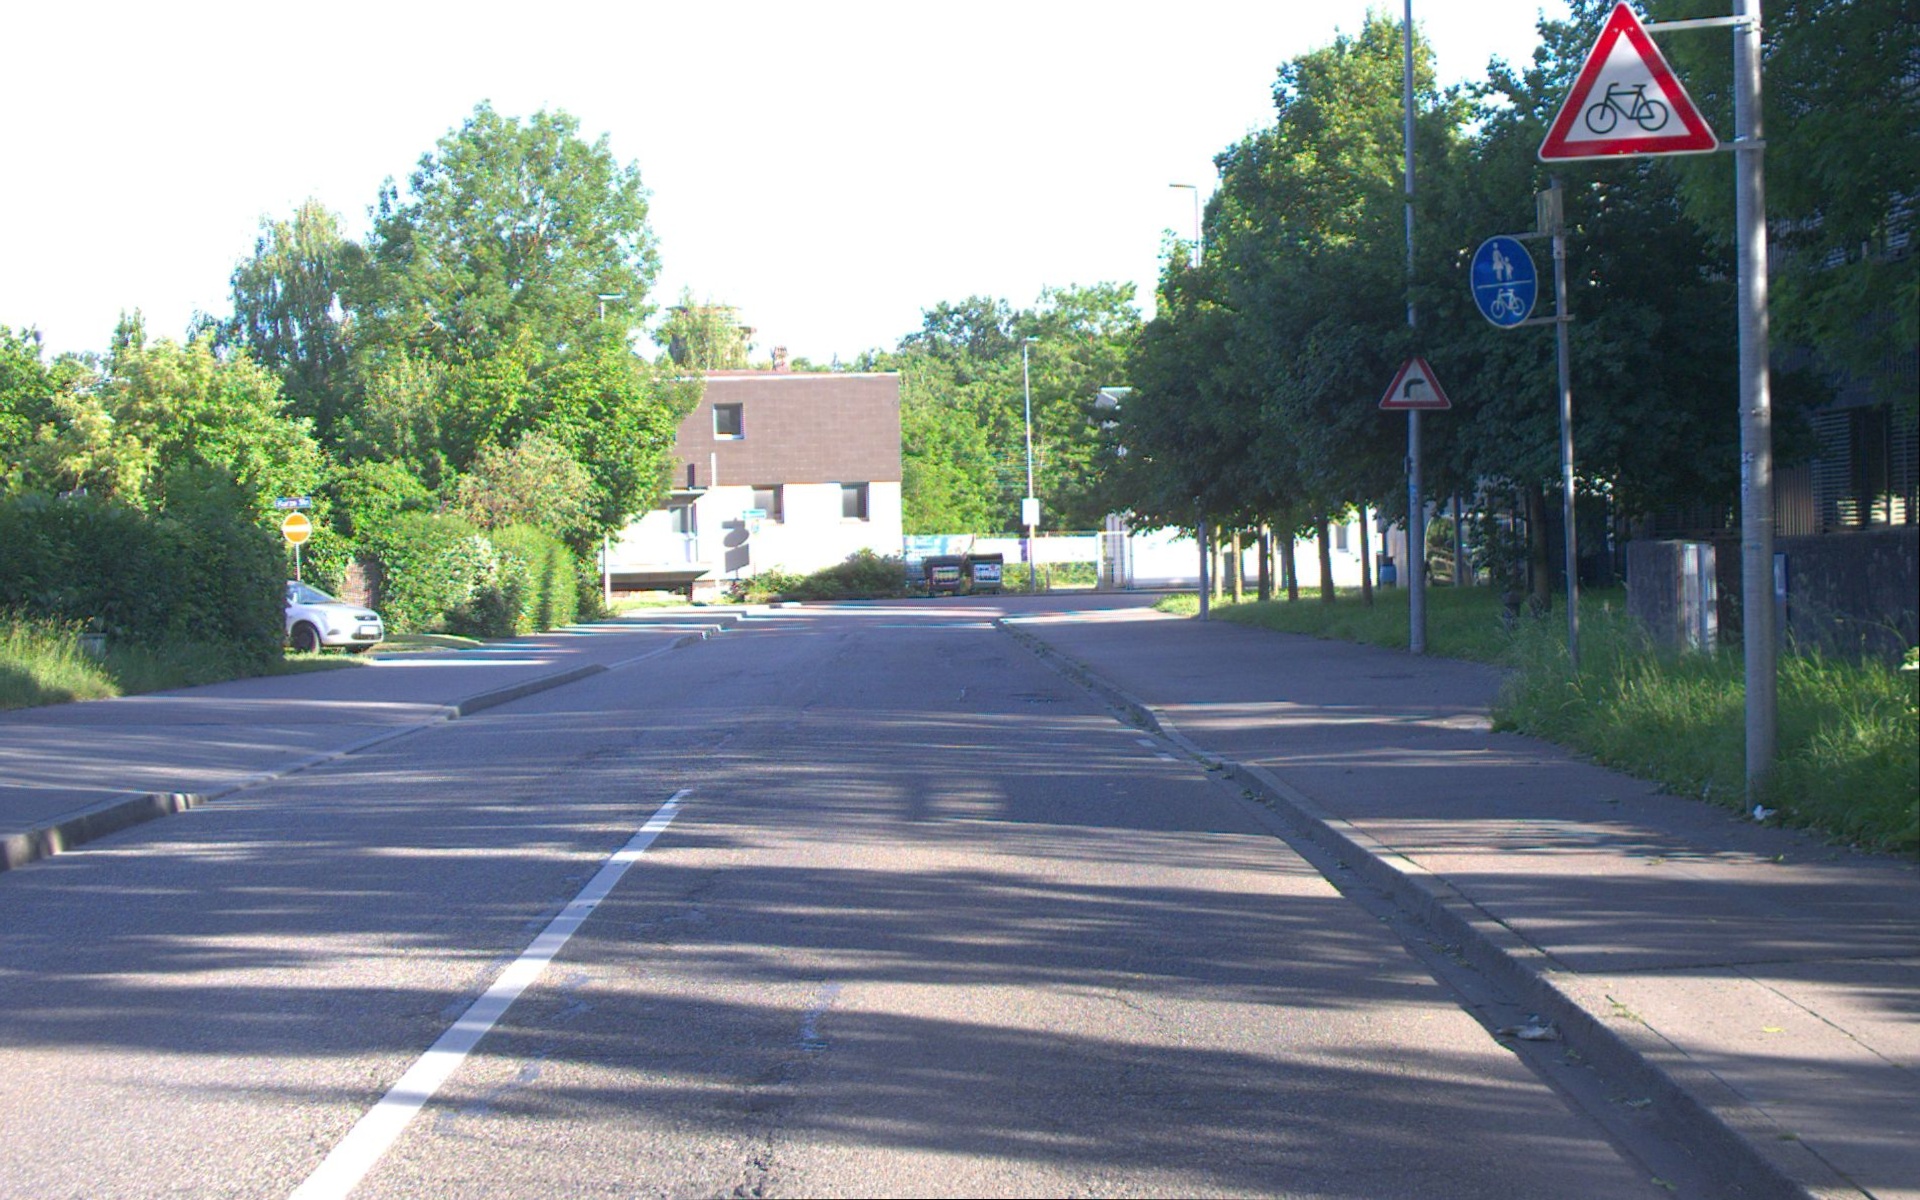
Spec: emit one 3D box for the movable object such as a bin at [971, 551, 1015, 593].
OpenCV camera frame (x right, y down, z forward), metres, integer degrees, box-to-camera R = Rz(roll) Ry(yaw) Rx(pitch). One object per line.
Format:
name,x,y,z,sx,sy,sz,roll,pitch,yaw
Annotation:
movable object such as a bin,1.118,-0.952,116.905,1.364,1.413,1.066,0,0,-7

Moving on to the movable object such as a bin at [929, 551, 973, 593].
movable object such as a bin,-0.299,-0.955,116.696,1.364,1.413,1.066,0,0,-7

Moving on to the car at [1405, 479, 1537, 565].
car,11.334,-1.707,76.490,1.835,1.808,4.667,0,0,-5

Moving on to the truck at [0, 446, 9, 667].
truck,-21.465,-0.660,61.451,9.318,3.870,2.707,-2,-1,29

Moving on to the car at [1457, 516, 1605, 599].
car,10.577,-0.765,63.912,1.835,1.461,4.279,0,0,-3

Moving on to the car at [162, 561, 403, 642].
car,-12.856,0.030,65.254,4.216,1.485,1.874,0,0,26
